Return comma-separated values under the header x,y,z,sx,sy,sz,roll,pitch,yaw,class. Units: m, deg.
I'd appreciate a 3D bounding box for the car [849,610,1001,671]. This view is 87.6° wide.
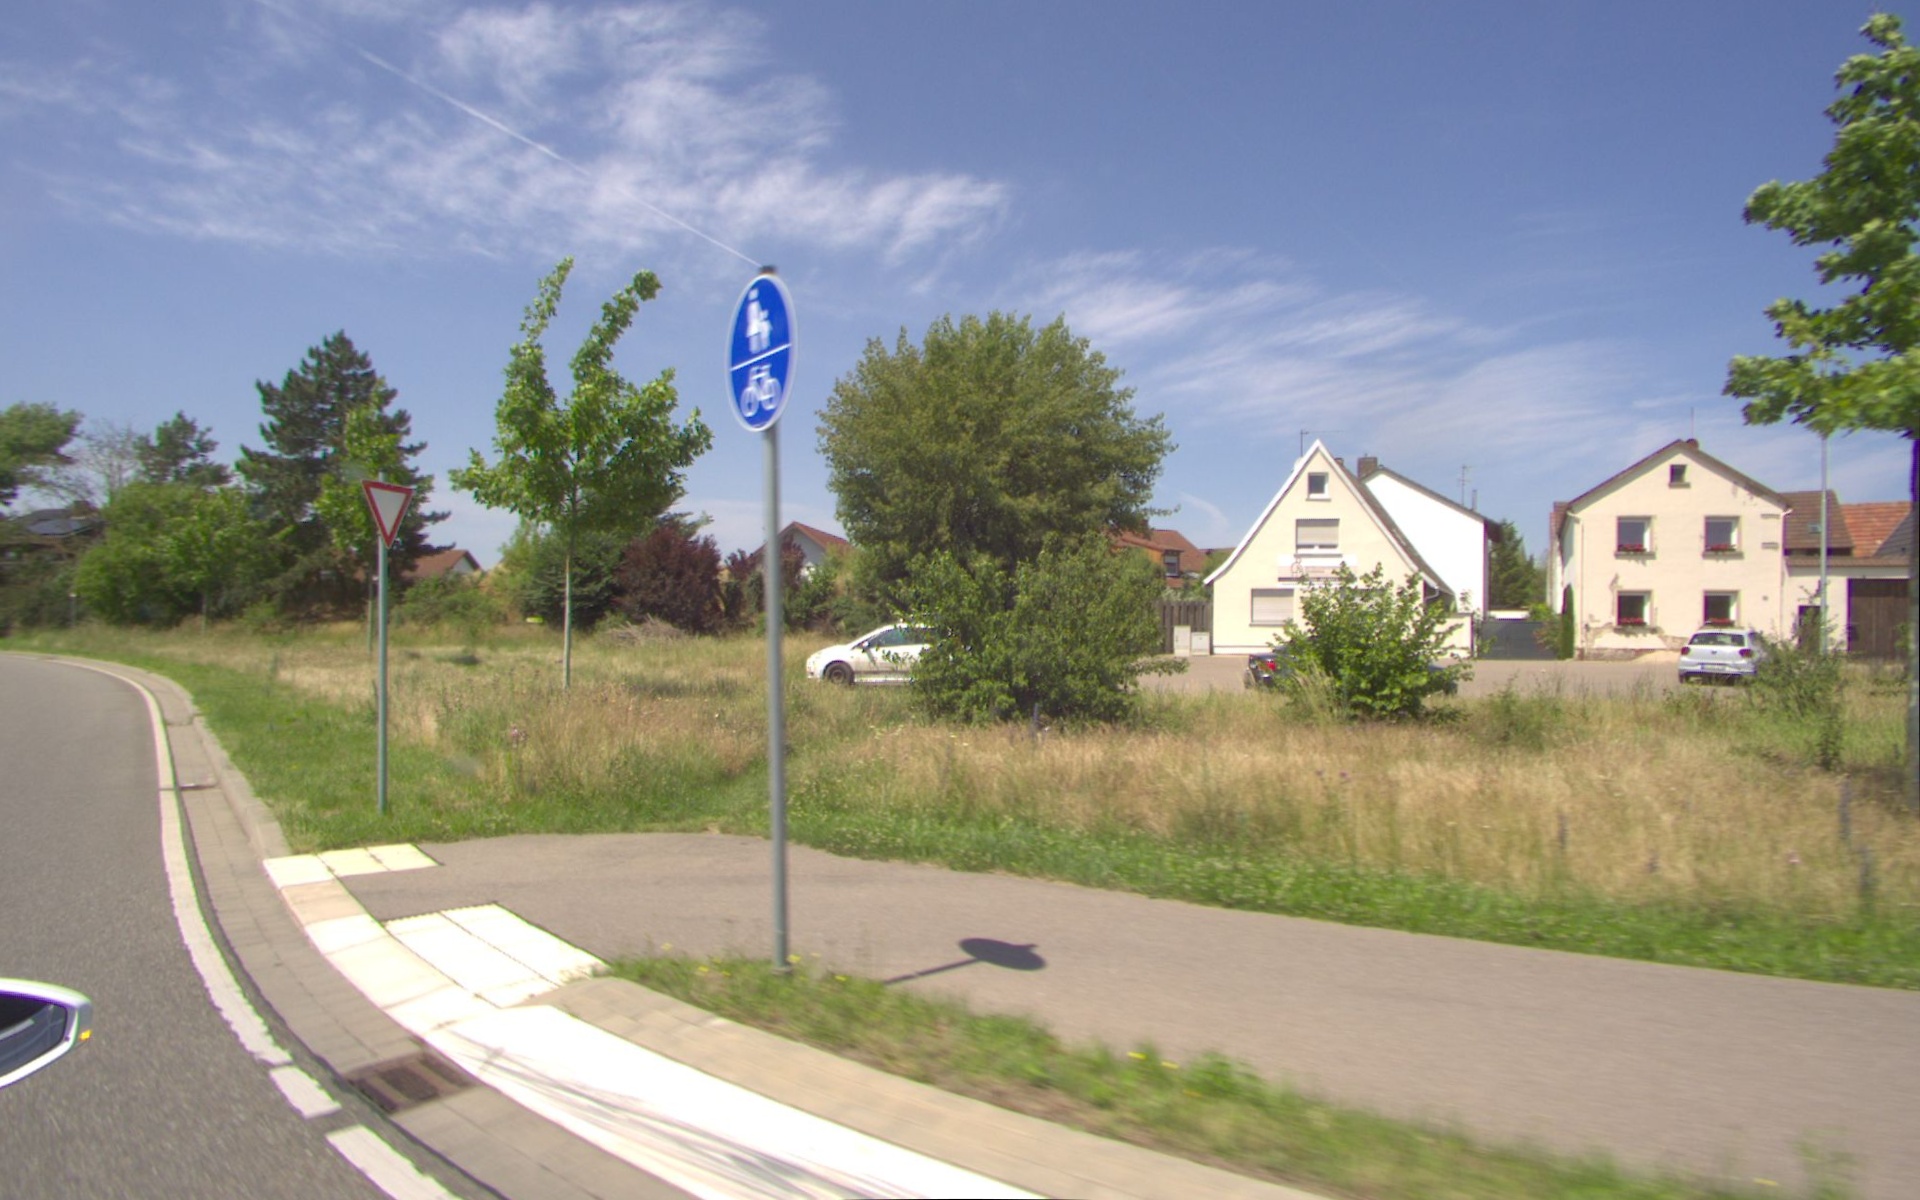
x,y,z,sx,sy,sz,roll,pitch,yaw,class
-0.904,1.099,27.486,3.890,1.461,1.774,2,-1,7,car

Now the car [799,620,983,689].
x,y,z,sx,sy,sz,roll,pitch,yaw,class
-1.492,1.195,22.578,3.922,1.446,1.747,0,-1,5,car

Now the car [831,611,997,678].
x,y,z,sx,sy,sz,roll,pitch,yaw,class
-1.104,1.094,25.273,3.890,1.461,1.774,2,-1,7,car

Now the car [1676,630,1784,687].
x,y,z,sx,sy,sz,roll,pitch,yaw,class
20.978,1.530,27.221,3.959,1.411,1.636,2,-1,-42,car

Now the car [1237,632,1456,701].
x,y,z,sx,sy,sz,roll,pitch,yaw,class
8.040,1.376,21.062,3.922,1.328,1.748,1,-1,1,car
